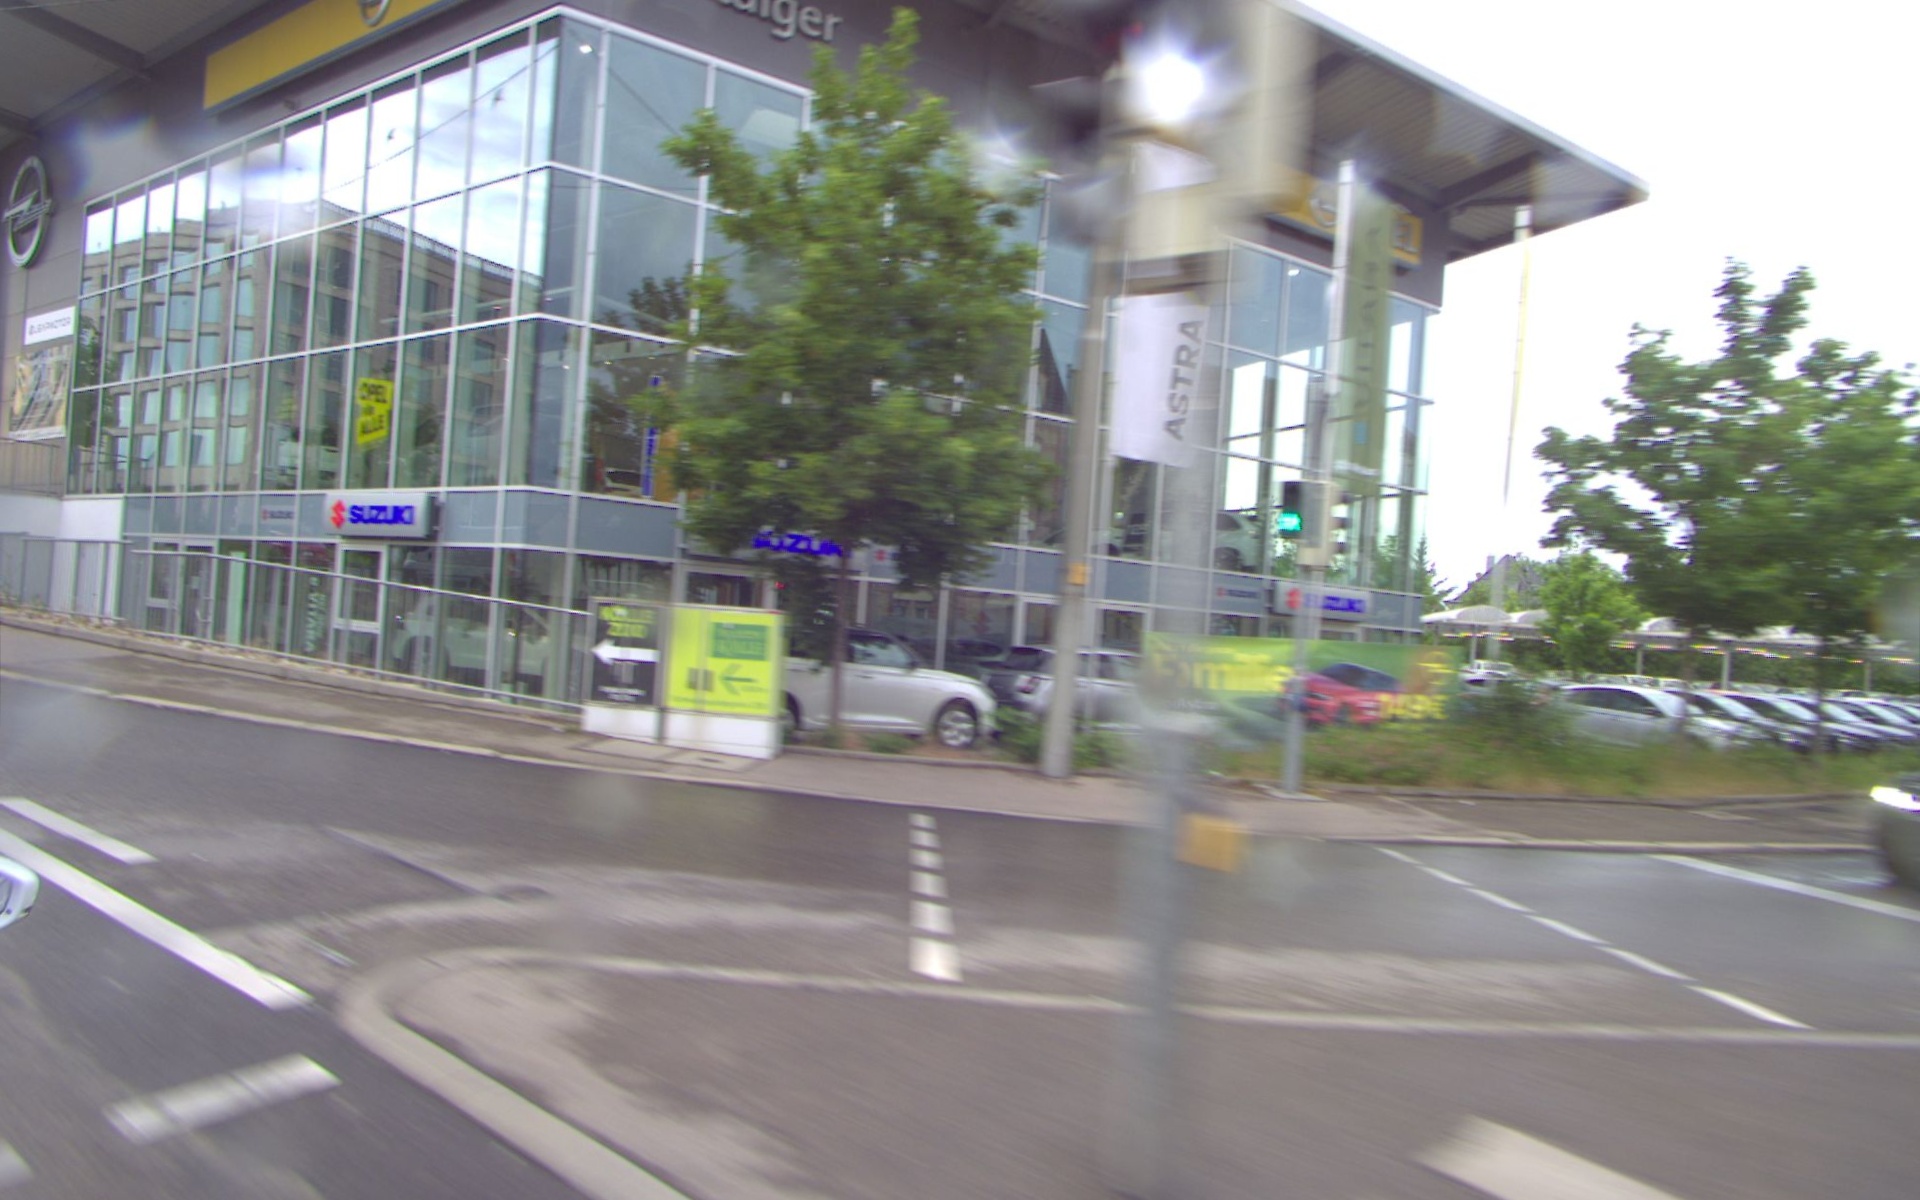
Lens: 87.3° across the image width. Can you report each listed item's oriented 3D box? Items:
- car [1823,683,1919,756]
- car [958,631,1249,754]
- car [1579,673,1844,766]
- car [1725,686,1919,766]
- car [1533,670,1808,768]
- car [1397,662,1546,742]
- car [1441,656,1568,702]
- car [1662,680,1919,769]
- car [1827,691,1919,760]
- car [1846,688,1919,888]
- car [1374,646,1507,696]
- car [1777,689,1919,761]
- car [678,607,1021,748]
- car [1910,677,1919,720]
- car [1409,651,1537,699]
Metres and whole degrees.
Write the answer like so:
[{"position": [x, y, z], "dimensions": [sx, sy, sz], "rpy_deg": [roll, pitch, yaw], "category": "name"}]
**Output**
[{"position": [24.911, 3.180, 25.646], "dimensions": [1.703, 1.616, 3.970], "rpy_deg": [5, 0, -29], "category": "car"}, {"position": [2.180, 1.405, 15.178], "dimensions": [3.949, 1.548, 1.815], "rpy_deg": [5, -1, -26], "category": "car"}, {"position": [15.390, 2.413, 20.832], "dimensions": [1.703, 1.300, 3.970], "rpy_deg": [5, 0, -29], "category": "car"}, {"position": [20.363, 2.888, 23.153], "dimensions": [1.703, 1.265, 3.970], "rpy_deg": [5, 0, -29], "category": "car"}, {"position": [13.668, 2.251, 19.603], "dimensions": [1.703, 1.289, 3.970], "rpy_deg": [5, 0, -29], "category": "car"}, {"position": [11.938, 2.334, 23.770], "dimensions": [1.790, 1.470, 4.004], "rpy_deg": [6, -2, 8], "category": "car"}, {"position": [21.692, 3.130, 40.225], "dimensions": [1.891, 1.324, 3.970], "rpy_deg": [5, 0, -29], "category": "car"}, {"position": [18.090, 2.676, 22.095], "dimensions": [1.703, 1.324, 3.970], "rpy_deg": [5, 0, -29], "category": "car"}, {"position": [26.720, 3.597, 27.612], "dimensions": [1.703, 1.616, 3.970], "rpy_deg": [5, 0, -29], "category": "car"}, {"position": [10.430, 1.851, 9.217], "dimensions": [4.198, 1.683, 1.795], "rpy_deg": [5, 0, -24], "category": "car"}, {"position": [17.641, 2.593, 37.100], "dimensions": [1.891, 1.324, 3.970], "rpy_deg": [5, 0, -29], "category": "car"}, {"position": [22.638, 3.108, 24.396], "dimensions": [1.703, 1.324, 3.970], "rpy_deg": [5, 0, -29], "category": "car"}, {"position": [-1.396, 1.035, 13.065], "dimensions": [3.956, 1.525, 1.885], "rpy_deg": [6, -4, -31], "category": "car"}, {"position": [35.702, 3.657, 34.755], "dimensions": [1.703, 1.509, 3.785], "rpy_deg": [5, 0, -29], "category": "car"}, {"position": [19.760, 2.876, 38.905], "dimensions": [1.891, 1.324, 3.970], "rpy_deg": [5, 0, -29], "category": "car"}]
